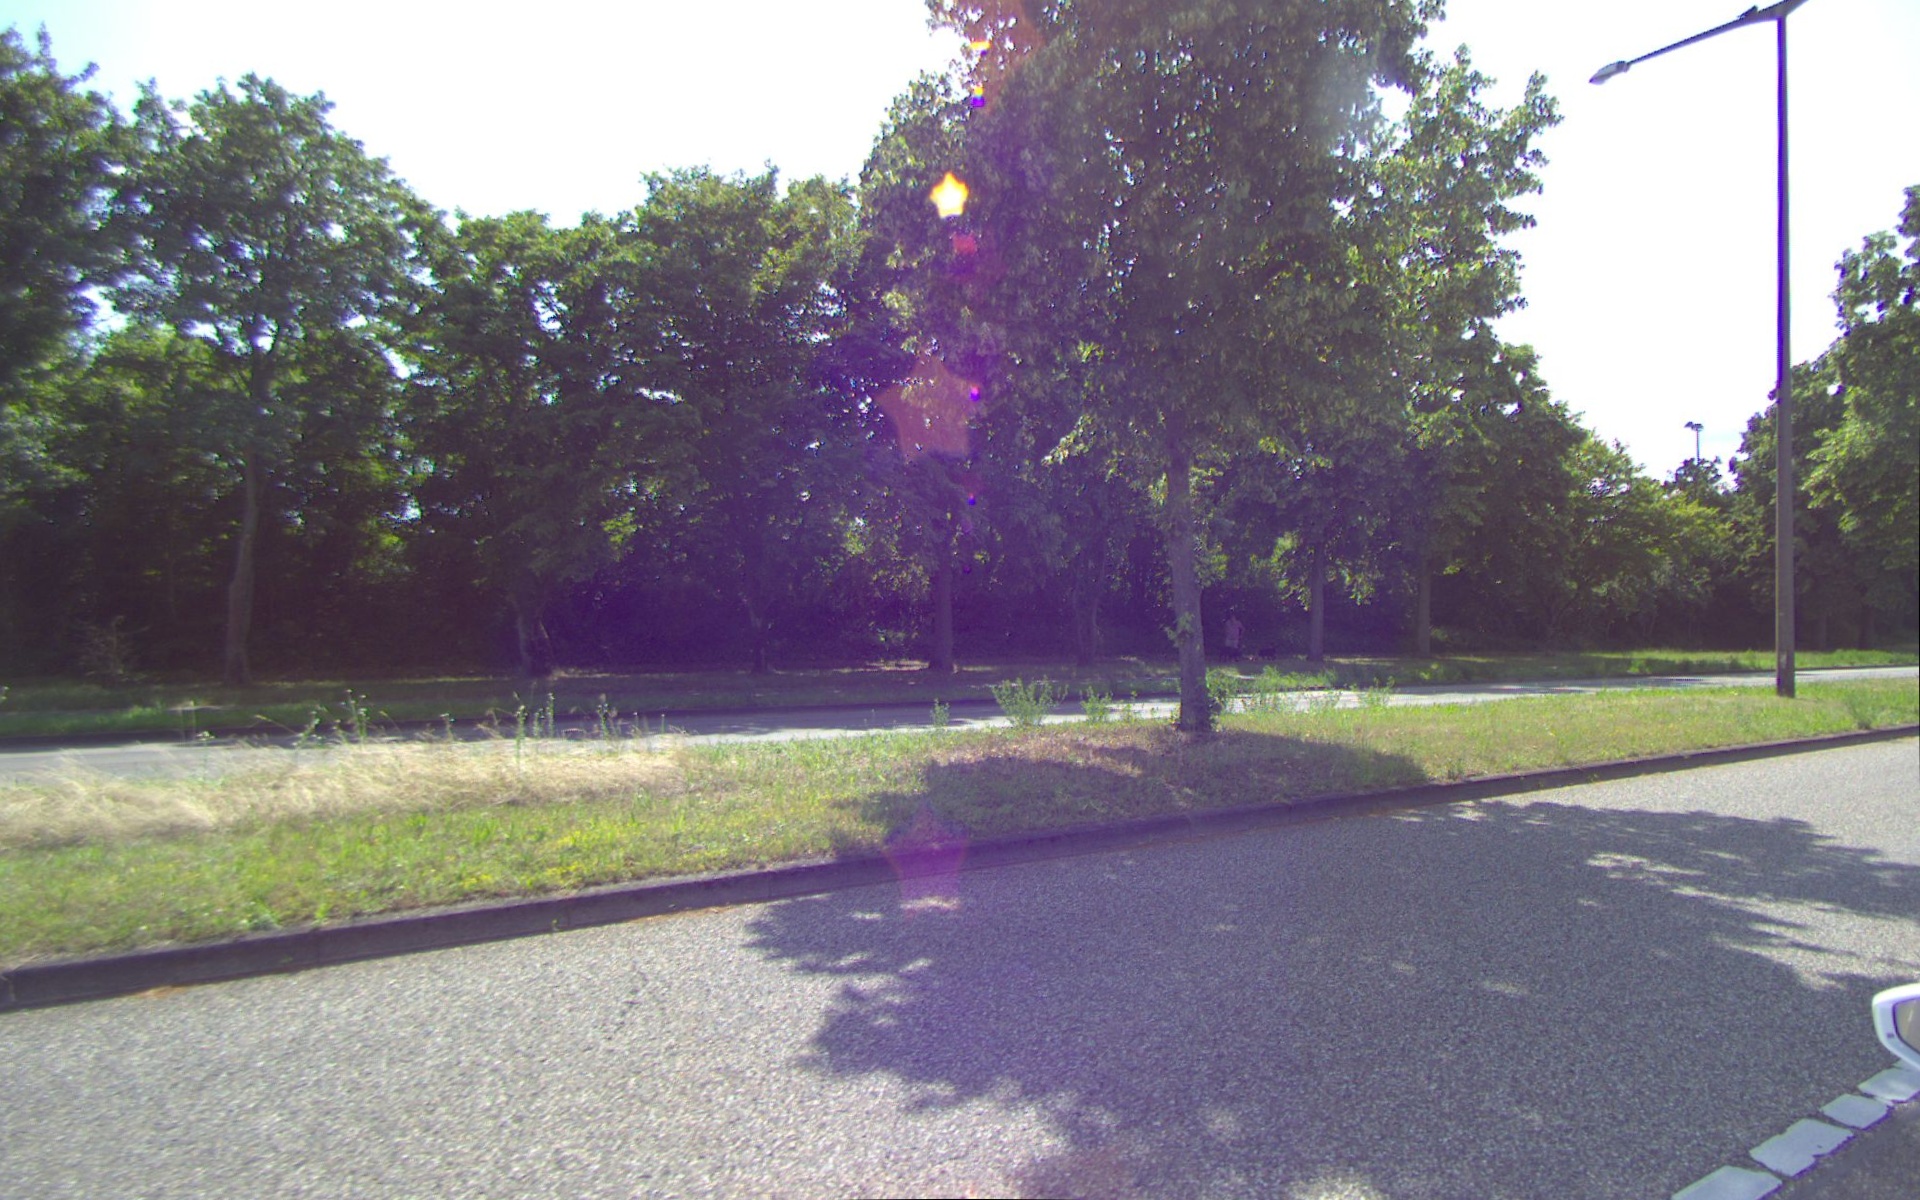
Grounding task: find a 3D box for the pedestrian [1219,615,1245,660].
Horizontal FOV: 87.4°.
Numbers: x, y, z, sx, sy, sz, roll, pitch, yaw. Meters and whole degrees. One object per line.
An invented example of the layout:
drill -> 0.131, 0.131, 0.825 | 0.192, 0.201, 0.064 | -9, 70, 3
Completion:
pedestrian -> 10.224, 1.400, 37.780 | 0.648, 1.652, 0.641 | 1, 0, -30
